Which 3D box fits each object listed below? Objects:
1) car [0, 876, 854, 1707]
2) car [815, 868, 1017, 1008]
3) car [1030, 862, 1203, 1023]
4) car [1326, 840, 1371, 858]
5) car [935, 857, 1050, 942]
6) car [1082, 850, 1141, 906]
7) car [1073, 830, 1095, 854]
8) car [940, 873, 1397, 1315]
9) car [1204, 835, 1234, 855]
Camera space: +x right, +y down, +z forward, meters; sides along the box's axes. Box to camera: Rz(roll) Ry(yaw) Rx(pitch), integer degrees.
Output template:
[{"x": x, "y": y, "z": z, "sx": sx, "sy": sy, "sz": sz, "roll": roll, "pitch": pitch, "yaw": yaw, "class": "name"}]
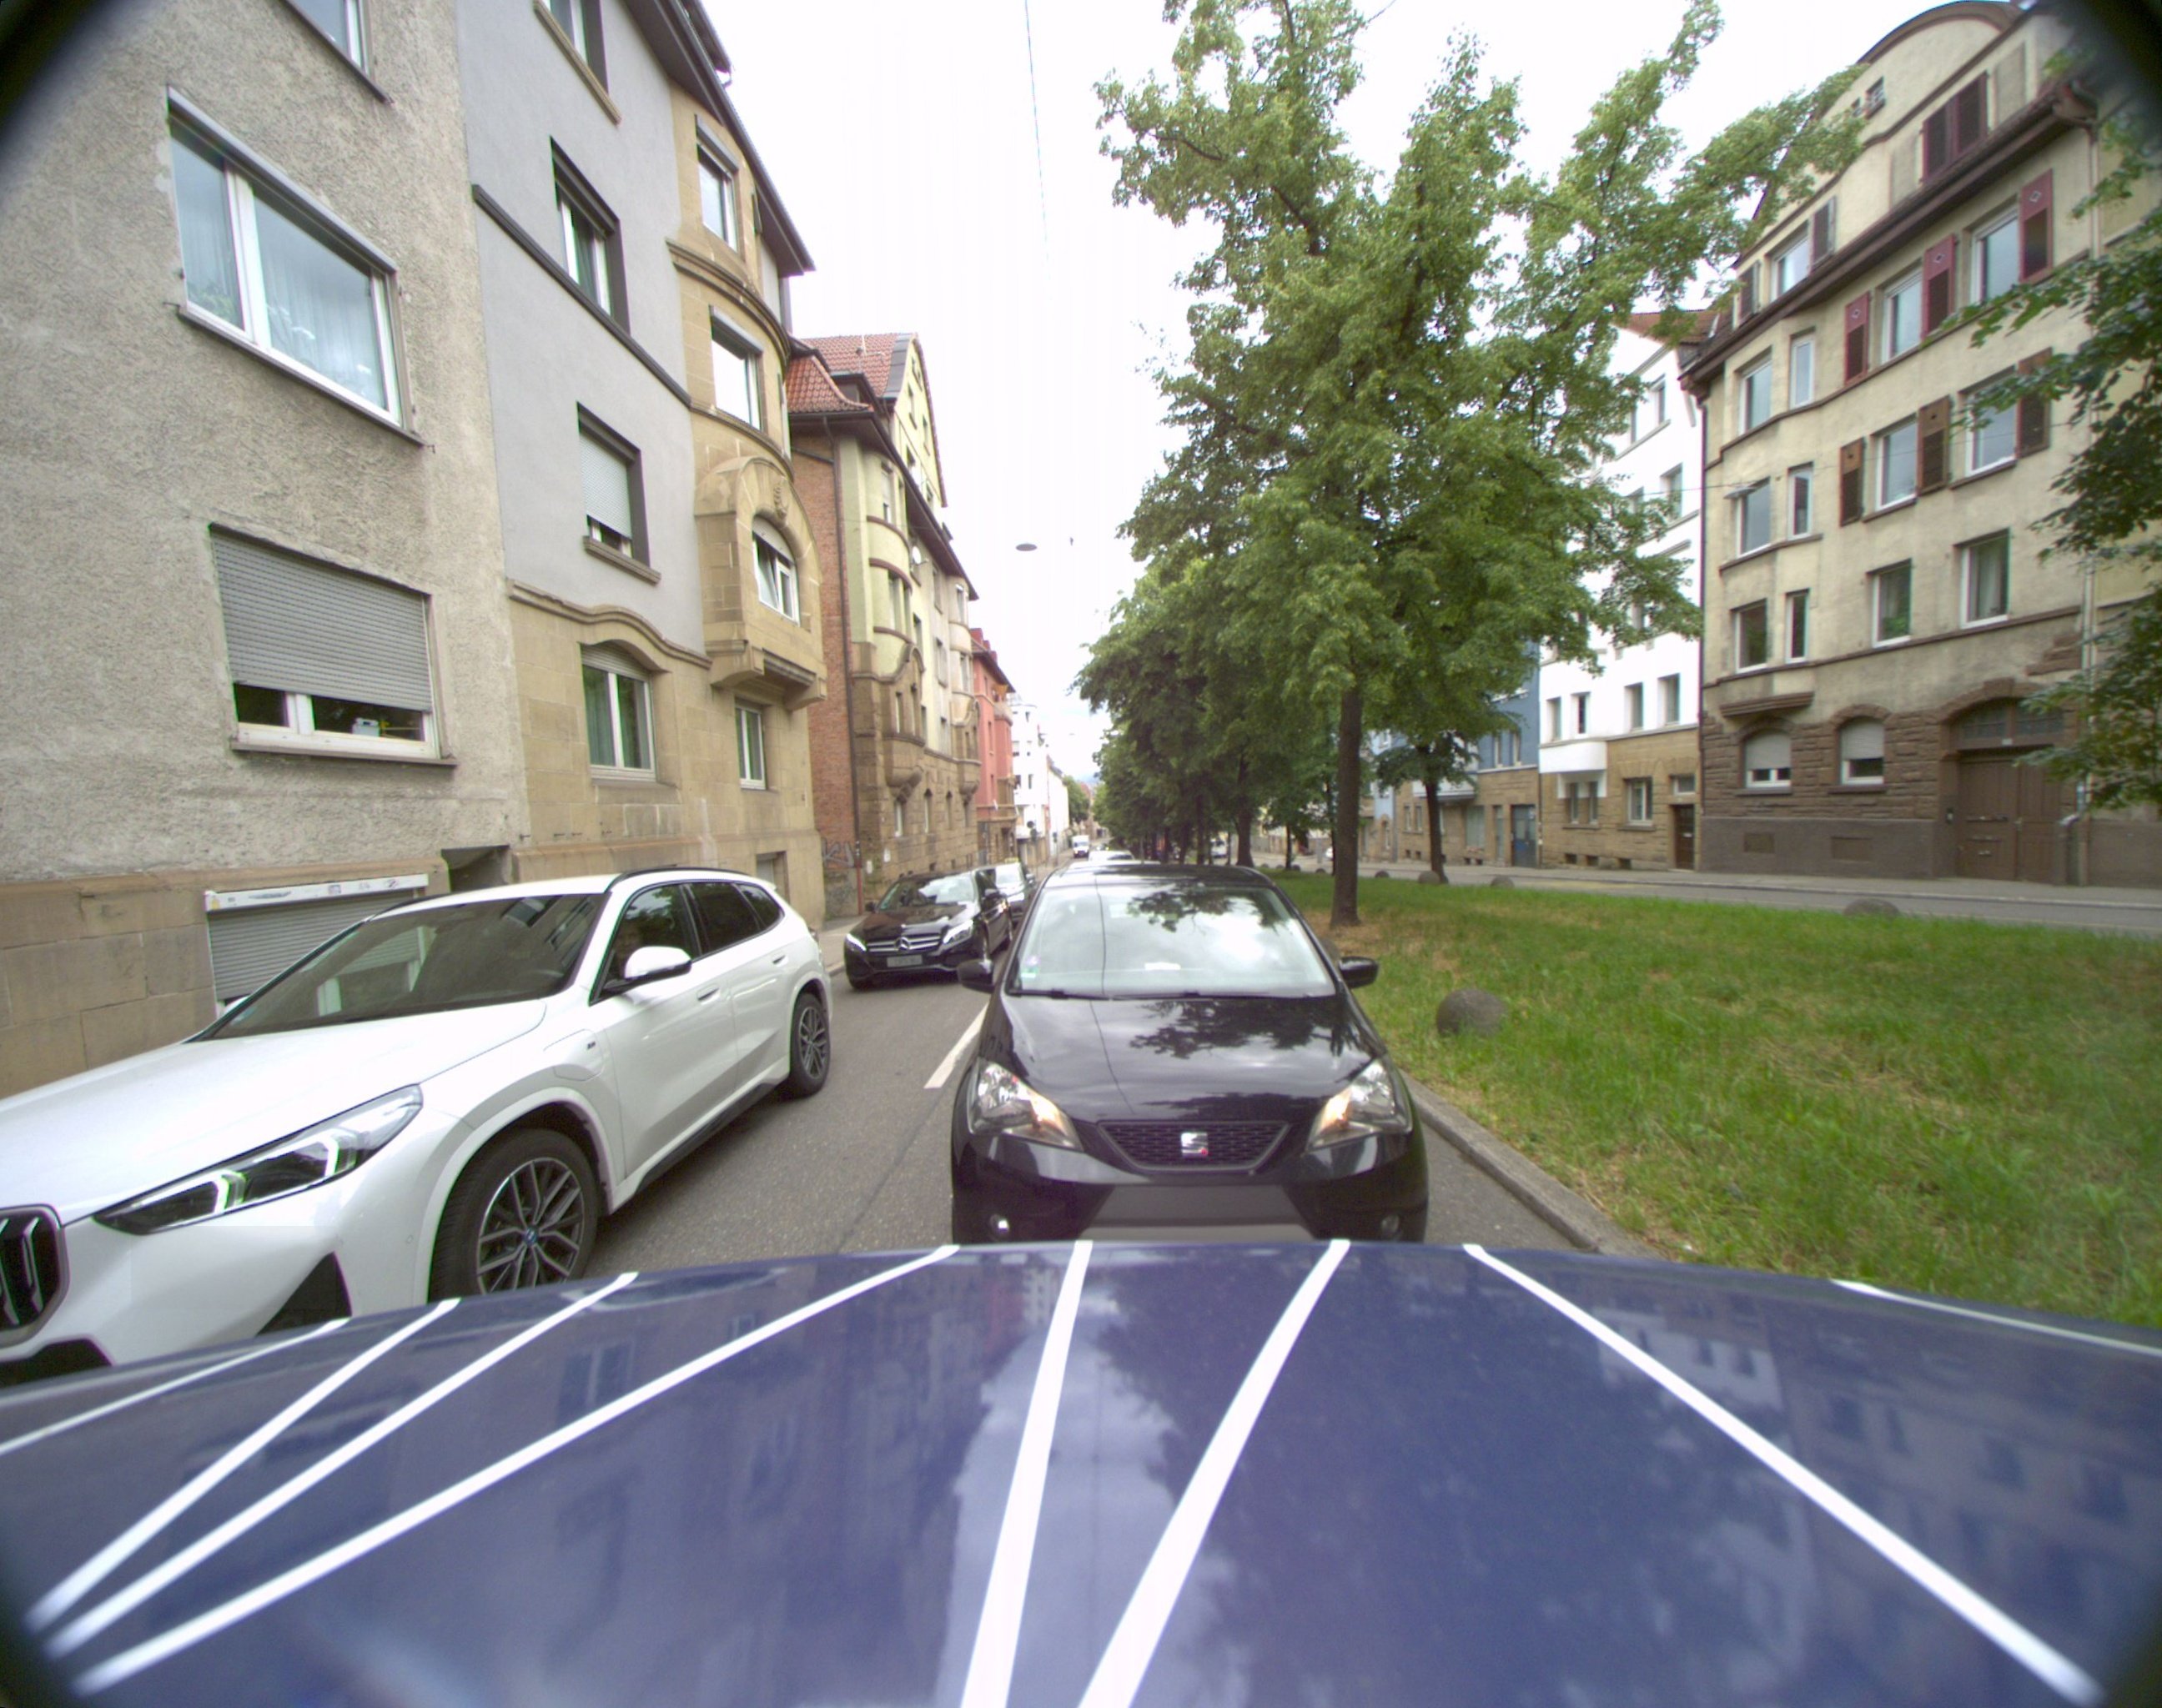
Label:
[{"x": -2.785, "y": 1.071, "z": 3.743, "sx": 1.859, "sy": 1.547, "sz": 4.350, "roll": -6, "pitch": 1, "yaw": 0, "class": "car"}, {"x": -2.163, "y": 1.053, "z": 11.222, "sx": 1.884, "sy": 1.369, "sz": 4.205, "roll": -6, "pitch": 1, "yaw": 1, "class": "car"}, {"x": 0.373, "y": 0.903, "z": 9.329, "sx": 1.664, "sy": 1.456, "sz": 3.580, "roll": -2, "pitch": 1, "yaw": 1, "class": "car"}, {"x": 22.185, "y": -0.432, "z": 63.108, "sx": 3.291, "sy": 1.323, "sz": 1.672, "roll": -2, "pitch": 1, "yaw": 10, "class": "car"}, {"x": -1.945, "y": 0.965, "z": 18.043, "sx": 1.936, "sy": 1.506, "sz": 4.303, "roll": -6, "pitch": 1, "yaw": 2, "class": "car"}, {"x": 0.883, "y": 0.663, "z": 23.199, "sx": 1.607, "sy": 1.492, "sz": 3.737, "roll": -2, "pitch": 1, "yaw": 1, "class": "car"}, {"x": 0.417, "y": -1.558, "z": 100.443, "sx": 2.716, "sy": 2.879, "sz": 6.452, "roll": -2, "pitch": 1, "yaw": 1, "class": "car"}, {"x": 0.333, "y": 0.898, "z": 4.342, "sx": 1.611, "sy": 1.457, "sz": 3.296, "roll": 0, "pitch": 1, "yaw": 1, "class": "car"}, {"x": 14.595, "y": -0.902, "z": 80.533, "sx": 1.999, "sy": 1.933, "sz": 5.306, "roll": -3, "pitch": 0, "yaw": -1, "class": "car"}]
